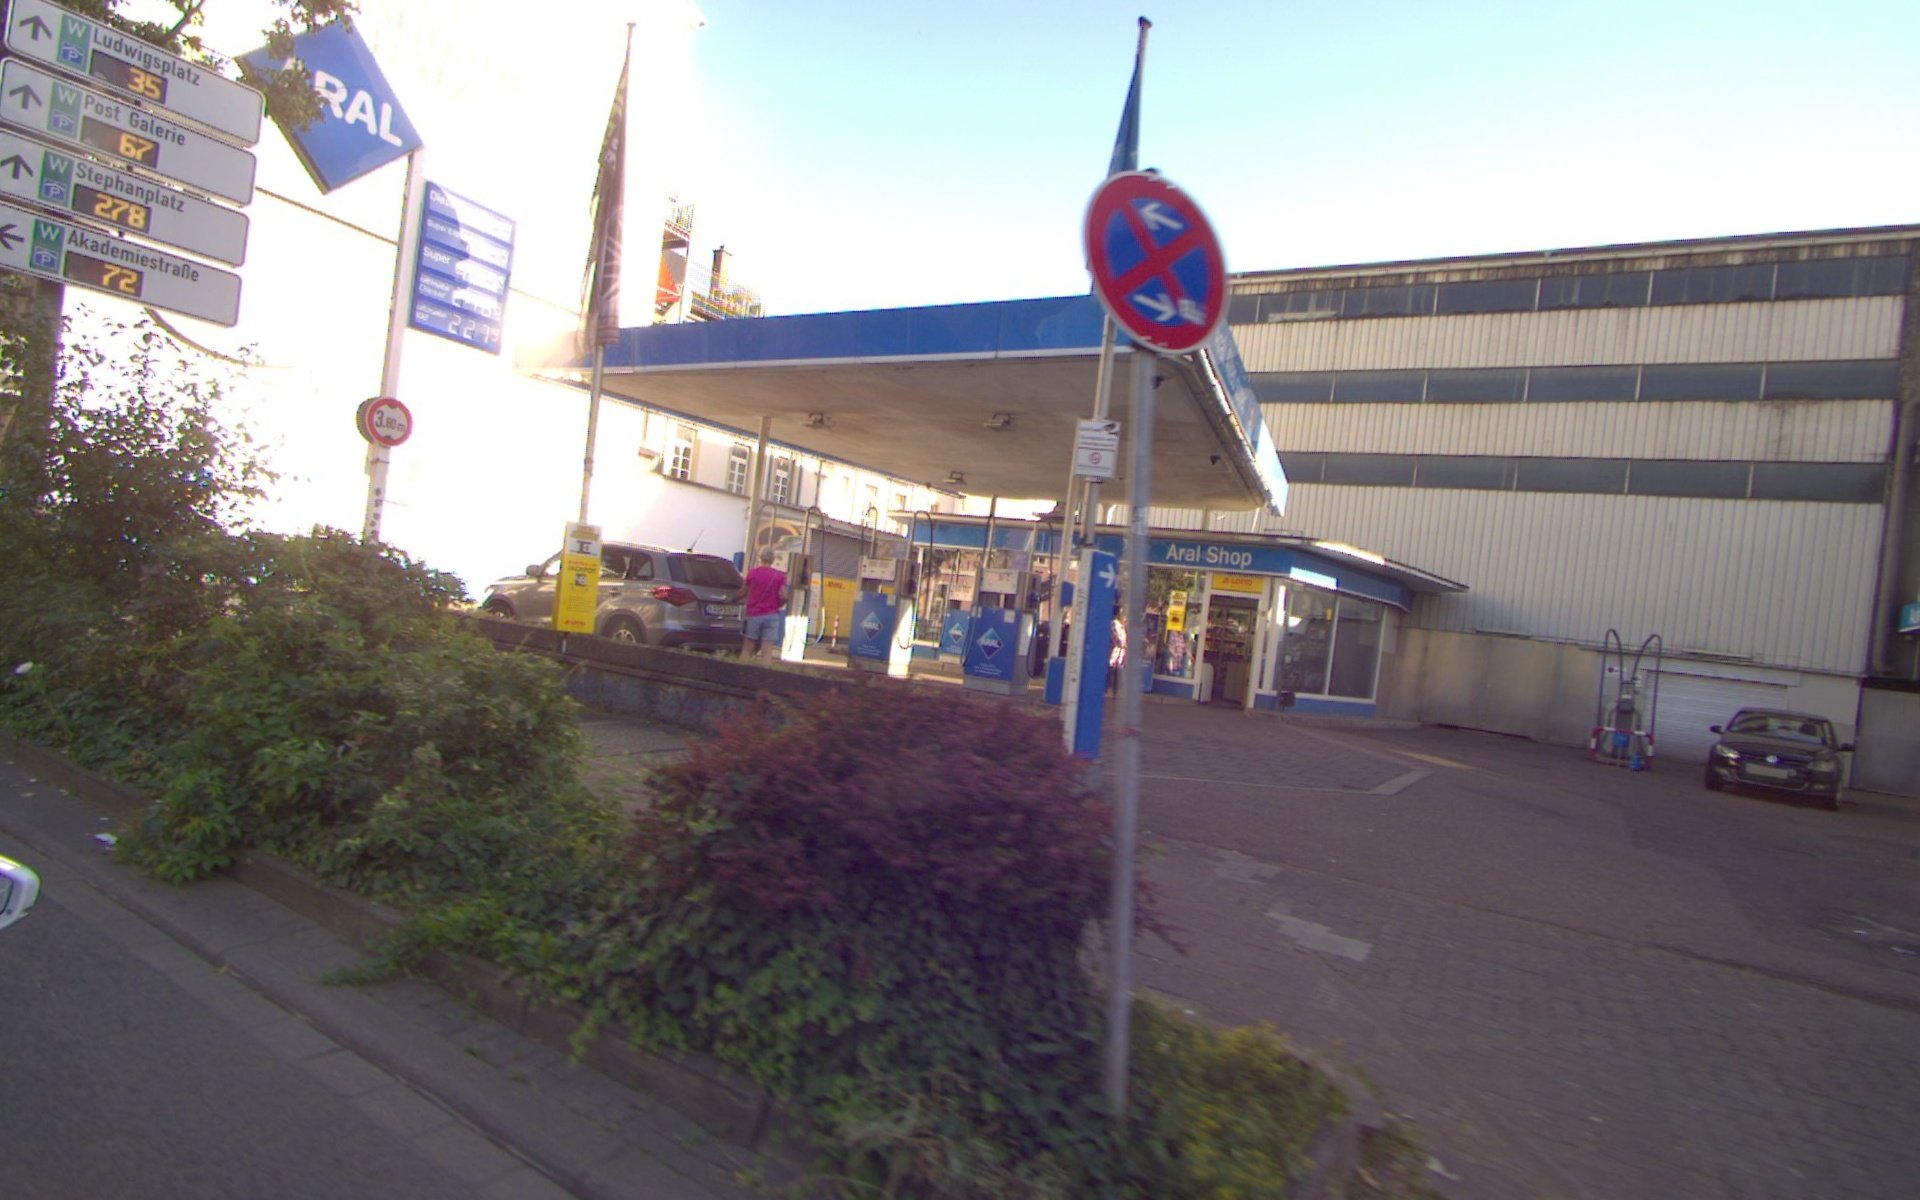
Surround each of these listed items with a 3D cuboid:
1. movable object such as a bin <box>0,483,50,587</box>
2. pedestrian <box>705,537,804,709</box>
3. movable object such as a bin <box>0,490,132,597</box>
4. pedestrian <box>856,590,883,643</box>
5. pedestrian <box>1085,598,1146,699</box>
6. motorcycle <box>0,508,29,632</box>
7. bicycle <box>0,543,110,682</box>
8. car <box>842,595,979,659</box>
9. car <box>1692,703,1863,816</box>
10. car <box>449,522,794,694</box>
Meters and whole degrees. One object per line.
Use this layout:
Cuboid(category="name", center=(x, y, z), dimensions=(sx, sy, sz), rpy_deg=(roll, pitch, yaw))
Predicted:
Cuboid(category="movable object such as a bin", center=(-16.235, -1.148, 16.679), dimensions=(1.473, 1.648, 1.207), rpy_deg=(7, 1, 30))
Cuboid(category="pedestrian", center=(-2.375, 0.268, 11.676), dimensions=(0.696, 1.873, 0.688), rpy_deg=(7, 1, 16))
Cuboid(category="movable object such as a bin", center=(-14.741, -0.912, 16.578), dimensions=(1.157, 1.549, 1.272), rpy_deg=(7, 0, 30))
Cuboid(category="pedestrian", center=(-2.954, 0.538, 32.878), dimensions=(0.536, 1.657, 0.547), rpy_deg=(7, 1, 21))
Cuboid(category="pedestrian", center=(2.941, 0.910, 18.939), dimensions=(0.806, 1.763, 0.818), rpy_deg=(7, 0, 19))
Cuboid(category="motorcycle", center=(-11.164, -0.412, 10.399), dimensions=(0.895, 1.346, 1.984), rpy_deg=(7, 0, 19))
Cuboid(category="bicycle", center=(-7.583, 0.062, 8.230), dimensions=(0.431, 1.001, 1.662), rpy_deg=(6, 0, -24))
Cuboid(category="car", center=(-1.380, 0.824, 29.562), dimensions=(1.968, 1.482, 3.990), rpy_deg=(7, 0, 33))
Cuboid(category="car", center=(13.613, 2.552, 16.776), dimensions=(1.880, 1.375, 3.982), rpy_deg=(7, 0, 40))
Cuboid(category="car", center=(-4.448, 0.069, 13.017), dimensions=(4.223, 1.668, 1.902), rpy_deg=(7, 0, 33))
